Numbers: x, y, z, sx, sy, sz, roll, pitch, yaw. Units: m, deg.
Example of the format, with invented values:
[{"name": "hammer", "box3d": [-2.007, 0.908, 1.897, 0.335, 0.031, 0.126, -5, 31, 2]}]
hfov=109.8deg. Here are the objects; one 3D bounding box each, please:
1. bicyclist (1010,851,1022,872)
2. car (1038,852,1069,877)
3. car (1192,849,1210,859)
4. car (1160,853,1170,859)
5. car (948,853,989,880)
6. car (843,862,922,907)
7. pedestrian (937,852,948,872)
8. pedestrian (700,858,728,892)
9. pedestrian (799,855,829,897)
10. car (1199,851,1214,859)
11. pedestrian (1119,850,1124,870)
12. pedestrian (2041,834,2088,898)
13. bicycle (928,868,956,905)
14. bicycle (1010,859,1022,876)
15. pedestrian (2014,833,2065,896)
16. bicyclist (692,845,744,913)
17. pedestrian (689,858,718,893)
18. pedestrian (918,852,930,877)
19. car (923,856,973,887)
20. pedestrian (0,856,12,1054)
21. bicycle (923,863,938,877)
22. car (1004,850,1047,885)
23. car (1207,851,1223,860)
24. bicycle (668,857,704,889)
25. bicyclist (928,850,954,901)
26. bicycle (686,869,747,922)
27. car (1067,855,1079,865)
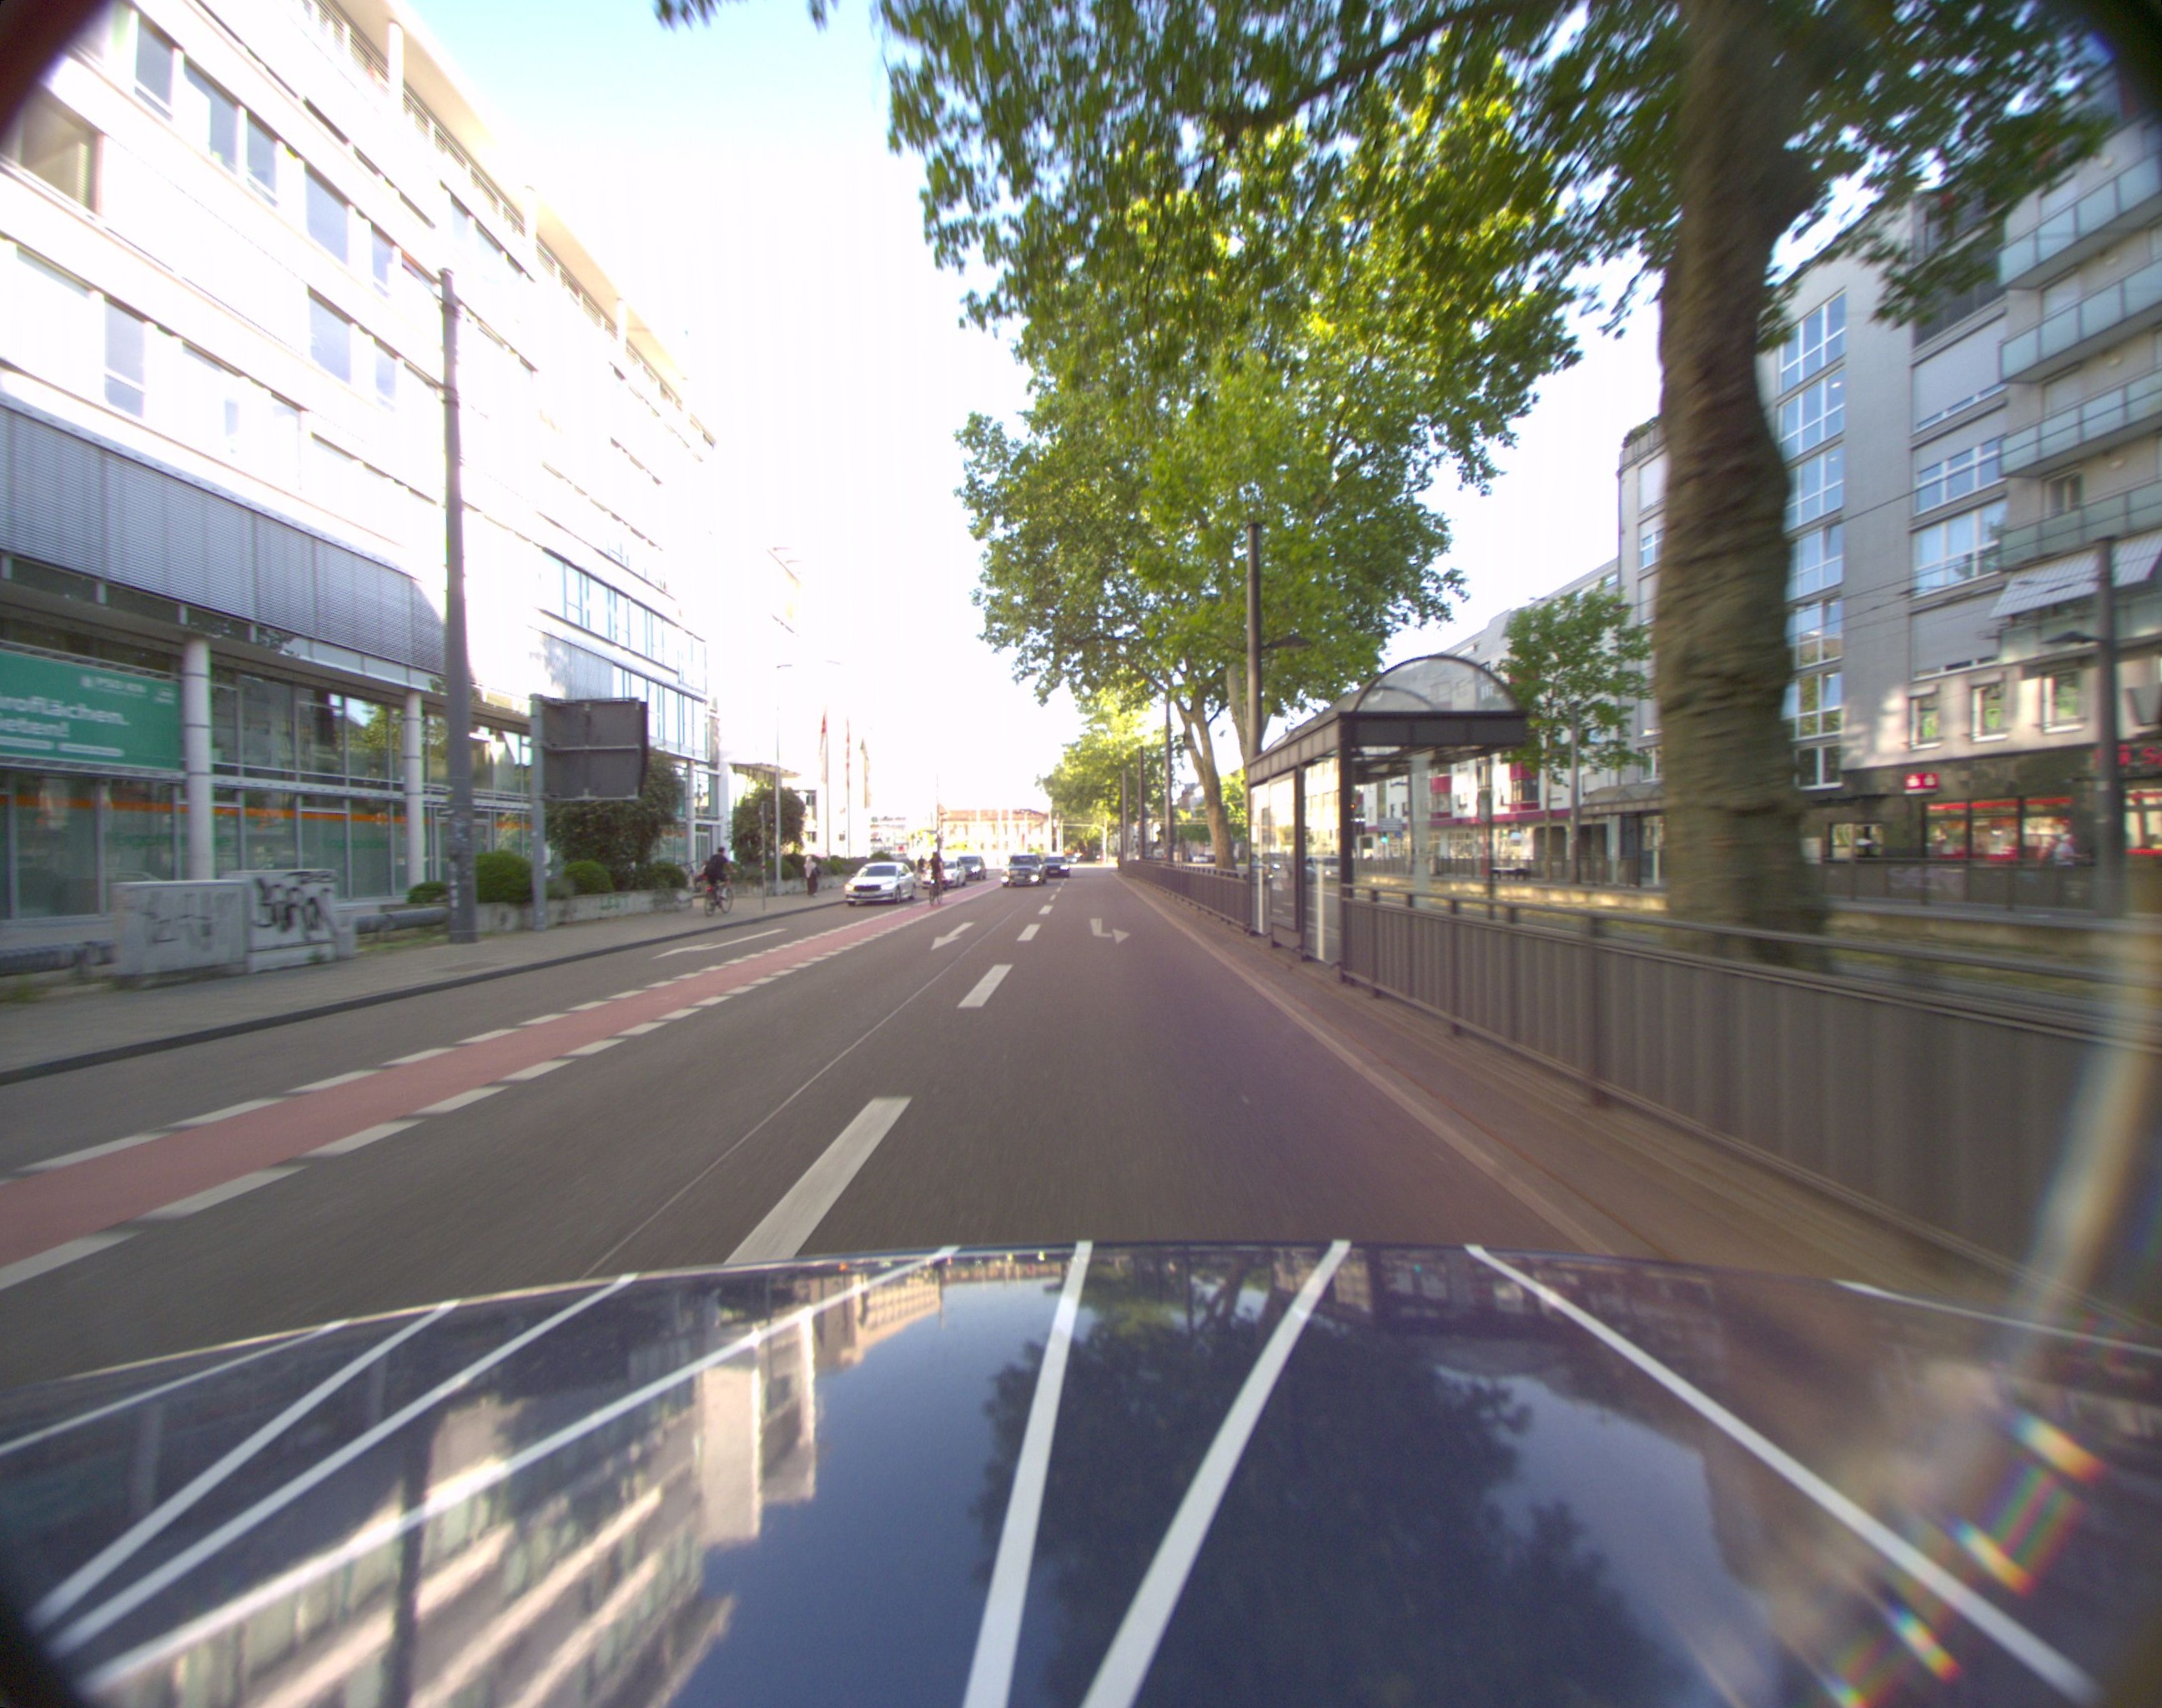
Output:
[{"name": "bicyclist", "box3d": [-4.425, 0.506, 51.800, 0.685, 1.372, 0.867, -1, 1, 0]}, {"name": "car", "box3d": [-1.749, 0.629, 48.771, 1.827, 1.416, 4.345, -2, 1, -2]}, {"name": "car", "box3d": [18.231, -0.008, 115.503, 1.998, 1.455, 3.999, -1, 1, 0]}, {"name": "car", "box3d": [20.999, 0.426, 190.182, 1.895, 1.552, 3.999, -1, 1, 0]}, {"name": "car", "box3d": [-7.079, 0.777, 48.305, 1.998, 1.587, 3.999, -1, 1, 0]}, {"name": "car", "box3d": [-7.041, 1.035, 27.325, 1.786, 1.411, 4.021, 0, 0, 0]}, {"name": "pedestrian", "box3d": [-10.781, 0.621, 59.003, 0.693, 1.573, 0.664, 2, 1, 1]}, {"name": "pedestrian", "box3d": [-14.022, 0.793, 29.052, 0.785, 1.264, 0.543, -1, 1, -4]}, {"name": "pedestrian", "box3d": [-10.149, 0.836, 28.911, 0.753, 1.566, 0.912, -1, 1, 3]}, {"name": "car", "box3d": [20.803, 0.105, 126.264, 1.895, 1.259, 3.999, -1, 1, 0]}, {"name": "pedestrian", "box3d": [3.211, 0.479, 60.685, 0.389, 1.558, 0.335, -1, 1, 6]}, {"name": "pedestrian", "box3d": [27.410, 0.321, 21.185, 0.503, 1.760, 0.628, -2, 2, 0]}, {"name": "bicycle", "box3d": [-4.665, 1.068, 25.612, 0.551, 1.114, 2.126, 0, 0, -1]}, {"name": "bicycle", "box3d": [-4.439, 0.883, 51.906, 0.666, 1.118, 1.873, -1, 1, 0]}, {"name": "pedestrian", "box3d": [27.755, 0.293, 22.016, 0.503, 1.760, 0.784, -2, 2, 0]}, {"name": "bicyclist", "box3d": [-9.781, 0.663, 20.521, 0.743, 1.752, 1.209, 2, 1, 1]}, {"name": "pedestrian", "box3d": [-14.067, 0.807, 28.331, 0.752, 1.264, 0.693, -1, 1, -4]}, {"name": "pedestrian", "box3d": [-9.887, 0.638, 47.845, 0.527, 1.573, 0.589, 2, 1, 1]}, {"name": "car", "box3d": [-6.723, 0.867, 38.813, 1.671, 1.455, 3.869, 0, 0, 3]}, {"name": "pedestrian", "box3d": [-10.100, 0.920, 6.518, 0.564, 1.798, 0.891, 0, 1, 0]}, {"name": "bicycle", "box3d": [-9.490, 1.007, 48.069, 0.499, 0.841, 1.903, 3, 1, 1]}, {"name": "car", "box3d": [-2.729, 0.647, 38.244, 1.785, 1.628, 4.021, 0, 0, 1]}, {"name": "car", "box3d": [21.064, 0.215, 119.474, 1.895, 1.259, 3.999, -1, 1, 0]}, {"name": "bicycle", "box3d": [-15.222, 0.723, 29.310, 0.534, 1.155, 1.611, -1, 1, 1]}, {"name": "bicyclist", "box3d": [-4.690, 0.705, 25.519, 0.752, 1.678, 0.714, 0, 1, -1]}, {"name": "bicycle", "box3d": [-9.810, 1.088, 20.552, 0.665, 1.268, 1.927, 2, 1, 1]}, {"name": "car", "box3d": [-1.282, 0.951, 118.805, 1.827, 1.416, 4.345, -2, 1, -2]}]
